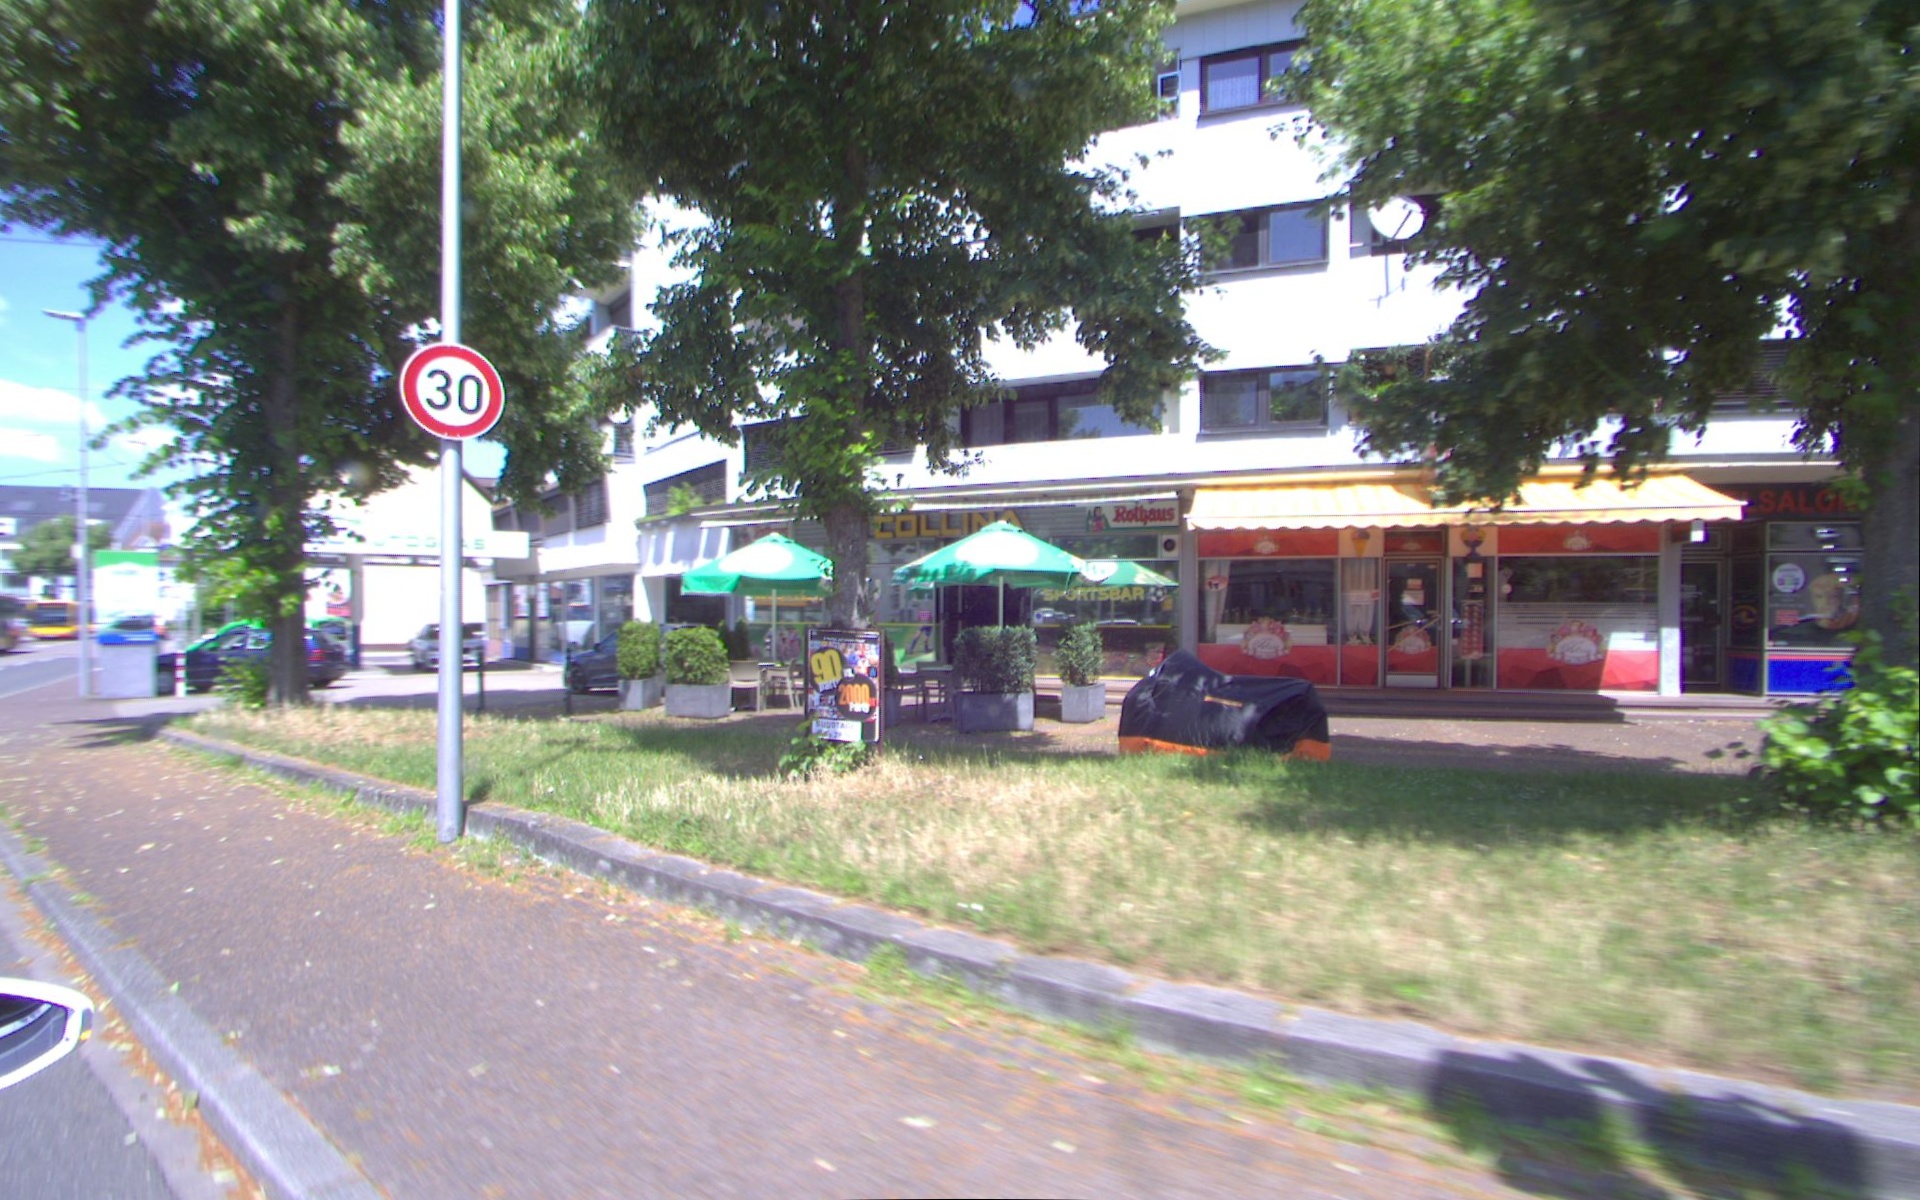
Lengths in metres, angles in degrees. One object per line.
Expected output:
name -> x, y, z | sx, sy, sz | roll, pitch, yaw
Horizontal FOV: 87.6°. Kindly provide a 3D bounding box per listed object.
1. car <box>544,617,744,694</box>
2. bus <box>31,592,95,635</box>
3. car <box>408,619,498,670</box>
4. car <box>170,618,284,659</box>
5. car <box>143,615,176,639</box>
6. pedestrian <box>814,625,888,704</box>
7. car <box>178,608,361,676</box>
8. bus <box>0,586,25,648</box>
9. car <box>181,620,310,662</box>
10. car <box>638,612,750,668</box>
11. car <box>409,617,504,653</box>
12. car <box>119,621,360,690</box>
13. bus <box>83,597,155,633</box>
car -> -6.577, 1.115, 20.650 | 4.305, 1.447, 1.697 | -2, -2, 35
bus -> -72.048, 1.157, 80.628 | 2.705, 3.260, 10.971 | 1, -1, -36
car -> -17.330, 1.476, 34.120 | 1.990, 1.616, 4.257 | 1, -2, -37
car -> -34.880, 1.840, 47.686 | 4.270, 1.833, 1.983 | 2, 0, -39
car -> -67.538, 2.280, 84.566 | 1.790, 2.006, 3.975 | 1, -1, -33
pedestrian -> -1.886, 1.090, 17.342 | 1.002, 1.322, 0.812 | 0, -1, 31
car -> -19.213, 1.164, 27.965 | 3.947, 1.817, 1.842 | -1, -1, 5
bus -> -51.241, 0.891, 51.773 | 2.705, 3.169, 11.924 | 1, -1, -36
car -> -28.295, 1.591, 39.736 | 1.802, 1.538, 3.910 | -1, -1, 42
car -> -8.295, 1.192, 31.030 | 1.975, 1.605, 4.352 | 1, -2, -35
car -> -27.560, 1.942, 54.896 | 4.272, 1.833, 1.982 | 2, 0, -41
car -> -16.506, 1.238, 23.189 | 4.096, 1.458, 1.900 | 0, -1, -14
bus -> -79.844, 1.500, 95.305 | 2.600, 3.260, 9.906 | 1, -1, -24
